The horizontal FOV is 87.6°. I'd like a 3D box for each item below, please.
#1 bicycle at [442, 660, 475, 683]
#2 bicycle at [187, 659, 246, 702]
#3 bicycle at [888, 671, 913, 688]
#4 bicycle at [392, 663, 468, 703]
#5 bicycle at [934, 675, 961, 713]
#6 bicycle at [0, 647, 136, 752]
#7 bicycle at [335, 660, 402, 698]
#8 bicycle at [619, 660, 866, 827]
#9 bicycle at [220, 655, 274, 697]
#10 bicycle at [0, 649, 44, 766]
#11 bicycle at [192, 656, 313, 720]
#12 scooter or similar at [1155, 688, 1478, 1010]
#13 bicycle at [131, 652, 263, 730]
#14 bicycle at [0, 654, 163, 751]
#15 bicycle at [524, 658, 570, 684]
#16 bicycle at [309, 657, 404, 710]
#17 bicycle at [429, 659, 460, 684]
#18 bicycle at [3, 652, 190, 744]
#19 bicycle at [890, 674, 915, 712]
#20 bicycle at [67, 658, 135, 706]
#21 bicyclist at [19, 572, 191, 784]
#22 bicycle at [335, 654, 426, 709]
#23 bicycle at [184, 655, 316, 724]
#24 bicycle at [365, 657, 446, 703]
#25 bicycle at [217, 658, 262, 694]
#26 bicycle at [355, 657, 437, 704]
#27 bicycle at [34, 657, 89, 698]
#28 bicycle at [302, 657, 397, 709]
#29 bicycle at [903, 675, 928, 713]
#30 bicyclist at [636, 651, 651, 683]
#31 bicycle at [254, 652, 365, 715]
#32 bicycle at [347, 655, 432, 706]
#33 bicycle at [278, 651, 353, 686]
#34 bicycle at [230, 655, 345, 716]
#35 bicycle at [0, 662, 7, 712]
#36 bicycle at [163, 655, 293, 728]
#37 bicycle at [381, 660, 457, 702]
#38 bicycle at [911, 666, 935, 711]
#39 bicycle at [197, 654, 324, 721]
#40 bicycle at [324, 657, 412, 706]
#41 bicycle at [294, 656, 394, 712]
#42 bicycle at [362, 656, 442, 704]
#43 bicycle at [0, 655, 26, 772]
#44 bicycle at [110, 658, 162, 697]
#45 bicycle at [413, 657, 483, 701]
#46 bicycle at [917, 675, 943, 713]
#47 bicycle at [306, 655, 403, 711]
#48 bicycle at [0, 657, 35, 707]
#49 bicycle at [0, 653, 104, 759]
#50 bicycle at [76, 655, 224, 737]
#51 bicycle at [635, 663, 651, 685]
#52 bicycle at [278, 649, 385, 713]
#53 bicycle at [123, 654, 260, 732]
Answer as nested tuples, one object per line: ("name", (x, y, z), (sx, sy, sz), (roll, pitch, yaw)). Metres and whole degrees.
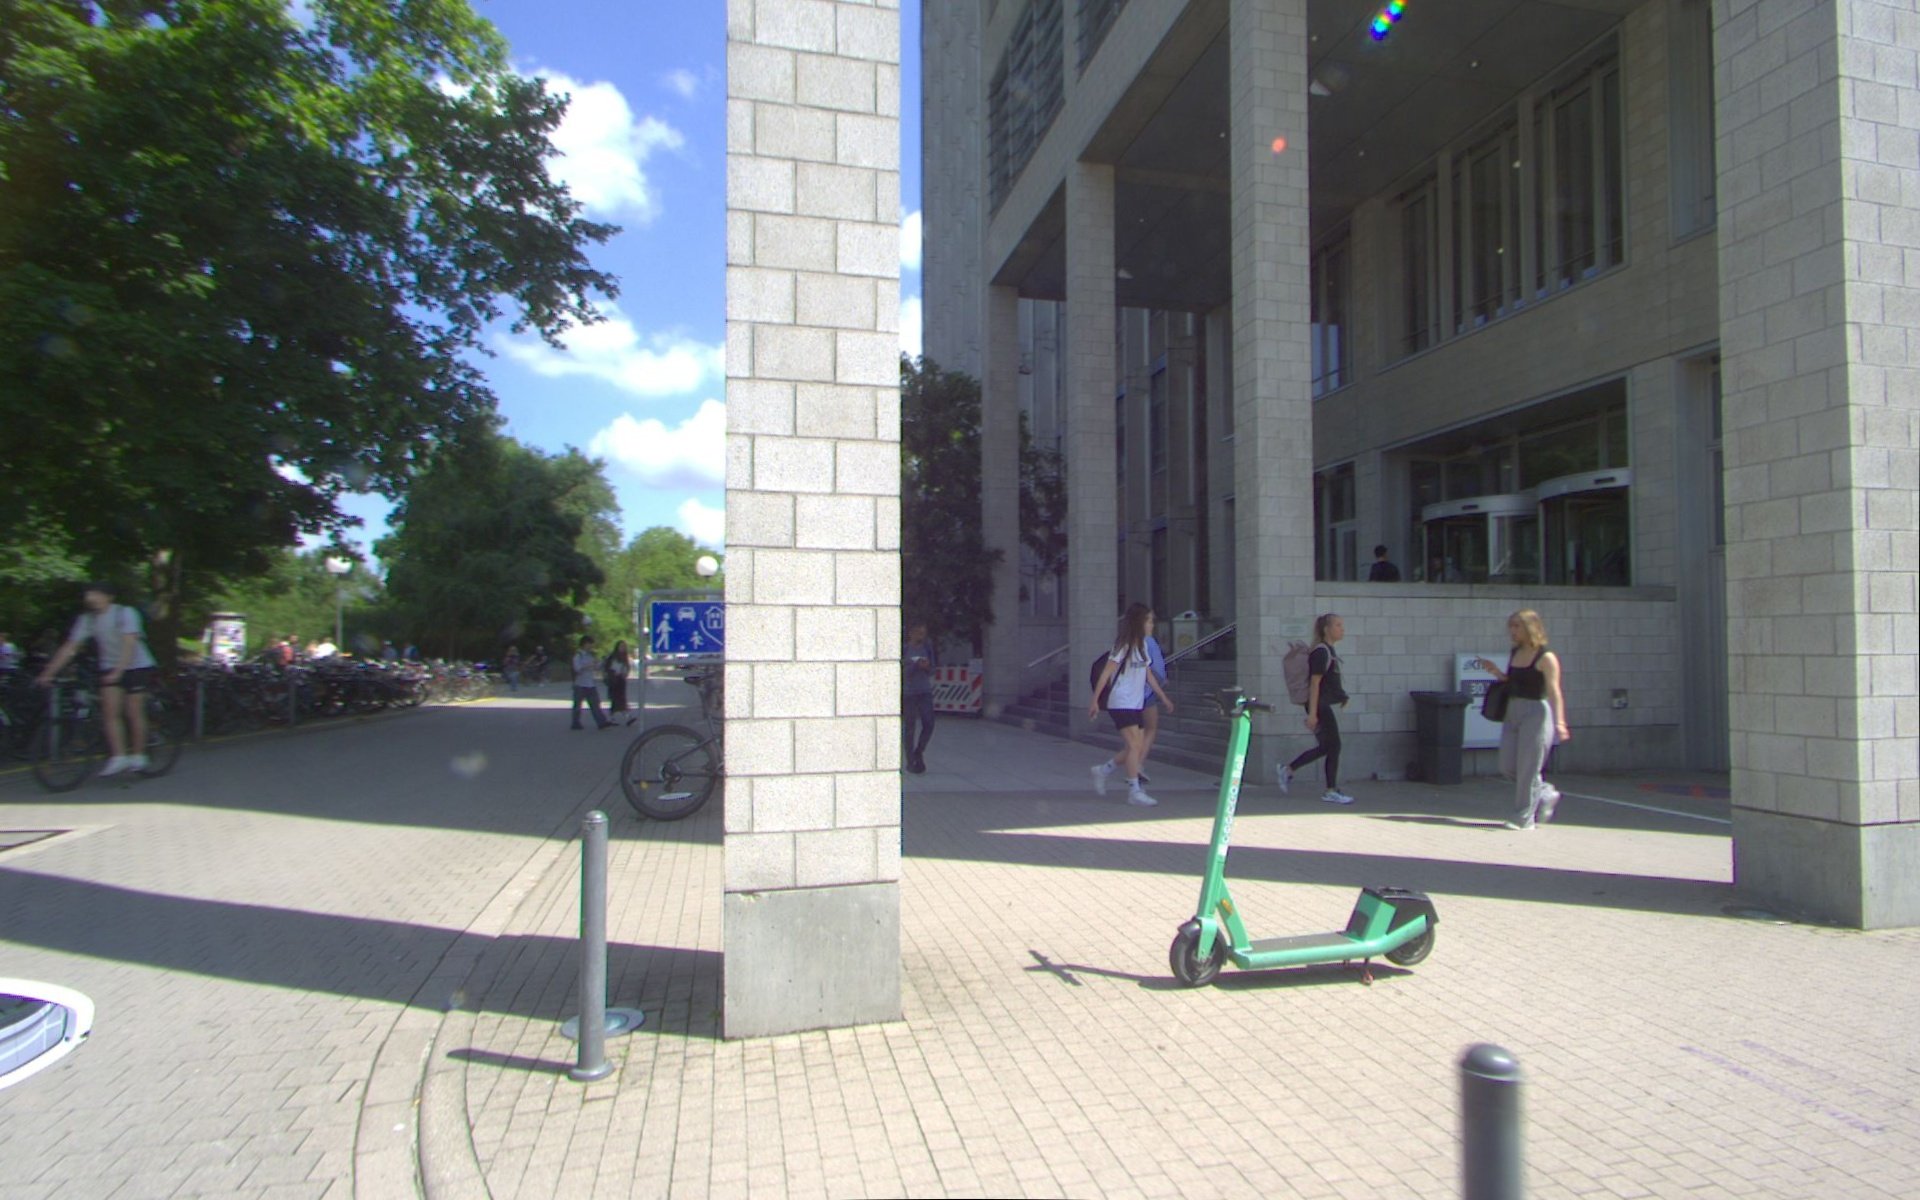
("bicycle", (-24.129, 3.453, 48.201), (0.465, 1.059, 1.701), (2, -4, 9))
("bicycle", (-19.591, 2.104, 26.367), (1.672, 1.096, 0.473), (-1, -4, 25))
("bicycle", (-4.186, 5.607, 70.693), (1.668, 1.123, 0.474), (2, -3, -10))
("bicycle", (-13.985, 2.190, 26.461), (0.469, 1.031, 1.687), (-2, -5, 42))
("bicycle", (-0.326, 2.366, 25.455), (0.286, 0.916, 1.447), (1, -3, -16))
("bicycle", (-10.681, 1.138, 11.506), (1.754, 1.175, 0.496), (2, -4, -18))
("bicycle", (-17.874, 2.380, 30.280), (1.666, 1.123, 0.474), (1, -3, -1))
("bicycle", (-1.727, 1.092, 7.982), (1.853, 1.179, 0.604), (0, -2, -18))
("bicycle", (-19.281, 2.039, 27.066), (1.673, 1.096, 0.472), (-1, -4, 29))
("bicycle", (-10.415, 1.070, 10.128), (1.600, 1.164, 0.497), (2, -3, -13))
("bicycle", (-12.763, 1.587, 18.092), (1.721, 1.121, 0.493), (4, -4, -37))
("scooter or similar", (1.406, 0.948, 4.014), (1.136, 1.165, 0.444), (1, -2, -9))
("bicycle", (-11.763, 1.395, 15.461), (1.598, 1.157, 0.497), (1, -3, 1))
("bicycle", (-10.672, 1.220, 12.014), (1.602, 1.121, 0.496), (2, -4, -18))
("bicycle", (-18.635, 3.195, 45.185), (1.825, 1.123, 0.470), (4, -5, -39))
("bicycle", (-13.037, 1.816, 21.686), (1.673, 1.121, 0.473), (3, -4, -25))
("bicycle", (-22.963, 3.190, 44.595), (1.678, 1.059, 0.471), (-2, -4, 36))
("bicycle", (-11.086, 1.257, 12.901), (1.693, 1.121, 0.720), (1, -3, -2))
("bicycle", (-1.463, 2.350, 25.350), (0.286, 0.916, 1.447), (1, -3, -16))
("bicycle", (-20.691, 1.962, 24.116), (1.671, 1.096, 0.473), (-1, -4, 22))
("bicyclist", (-8.169, 0.744, 9.621), (0.790, 1.914, 0.868), (2, -3, -4))
("bicycle", (-13.086, 1.849, 22.672), (1.672, 1.213, 0.535), (2, -4, -22))
("bicycle", (-12.006, 1.521, 16.968), (1.709, 1.121, 0.497), (2, -3, -13))
("bicycle", (-13.922, 2.024, 25.184), (1.682, 1.121, 0.470), (4, -5, -40))
("bicycle", (-23.078, 2.439, 32.072), (1.752, 1.123, 0.472), (-1, -4, 31))
("bicycle", (-13.757, 1.967, 24.473), (1.673, 1.121, 0.581), (3, -4, -25))
("bicycle", (-25.231, 2.166, 28.102), (1.749, 1.123, 0.473), (-1, -4, 26))
("bicycle", (-13.380, 1.827, 21.987), (1.673, 1.121, 0.473), (3, -4, -24))
("bicycle", (-1.137, 2.362, 25.418), (0.286, 0.916, 1.447), (1, -3, -16))
("bicyclist", (-17.563, 3.710, 55.558), (0.760, 1.736, 0.911), (0, -4, -16))
("bicycle", (-12.752, 1.650, 19.681), (1.709, 1.193, 0.497), (2, -3, -14))
("bicycle", (-13.630, 1.929, 23.962), (1.673, 1.202, 0.473), (3, -4, -25))
("bicycle", (-20.313, 2.164, 31.605), (1.878, 1.060, 0.540), (2, -3, -23))
("bicycle", (-12.713, 1.624, 18.980), (1.714, 1.121, 0.495), (3, -4, -26))
("bicycle", (-21.766, 1.901, 22.031), (1.671, 1.096, 0.473), (-1, -4, 22))
("bicycle", (-11.776, 1.464, 16.127), (1.707, 1.121, 0.575), (1, -3, 6))
("bicycle", (-14.421, 2.160, 26.722), (0.469, 1.074, 1.687), (-2, -5, 42))
("bicycle", (-1.002, 2.358, 26.848), (0.286, 1.142, 1.447), (1, -3, -16))
("bicycle", (-12.230, 1.535, 17.551), (1.710, 1.140, 0.496), (2, -4, -18))
("bicycle", (-13.783, 1.909, 23.358), (1.673, 1.121, 0.564), (3, -4, -25))
("bicycle", (-12.734, 1.745, 20.750), (1.673, 1.121, 0.496), (3, -4, -24))
("bicycle", (-14.220, 2.042, 25.537), (1.682, 1.171, 0.470), (4, -5, -40))
("bicycle", (-9.996, 1.062, 9.422), (1.599, 1.121, 0.691), (2, -3, -8))
("bicycle", (-24.735, 2.322, 30.046), (1.749, 1.123, 0.473), (-1, -4, 26))
("bicycle", (-14.163, 2.186, 27.701), (1.676, 1.182, 0.472), (3, -4, -30))
("bicycle", (-0.771, 2.374, 25.364), (0.286, 0.916, 1.447), (1, -3, -16))
("bicycle", (-12.836, 1.767, 21.265), (1.673, 1.159, 0.473), (3, -4, -25))
("bicycle", (-21.612, 1.824, 22.523), (1.671, 1.096, 0.473), (-1, -4, 22))
("bicycle", (-10.491, 1.138, 10.898), (1.602, 1.121, 0.644), (2, -4, -18))
("bicycle", (-11.569, 1.362, 14.329), (1.598, 1.121, 0.563), (1, -3, 1))
("bicycle", (-17.560, 4.122, 55.527), (0.760, 1.164, 2.107), (0, -4, -16))
("bicycle", (-12.690, 1.648, 20.272), (1.712, 1.250, 0.496), (2, -4, -21))
("bicycle", (-11.427, 1.378, 14.914), (1.598, 1.121, 0.497), (1, -3, 1))
